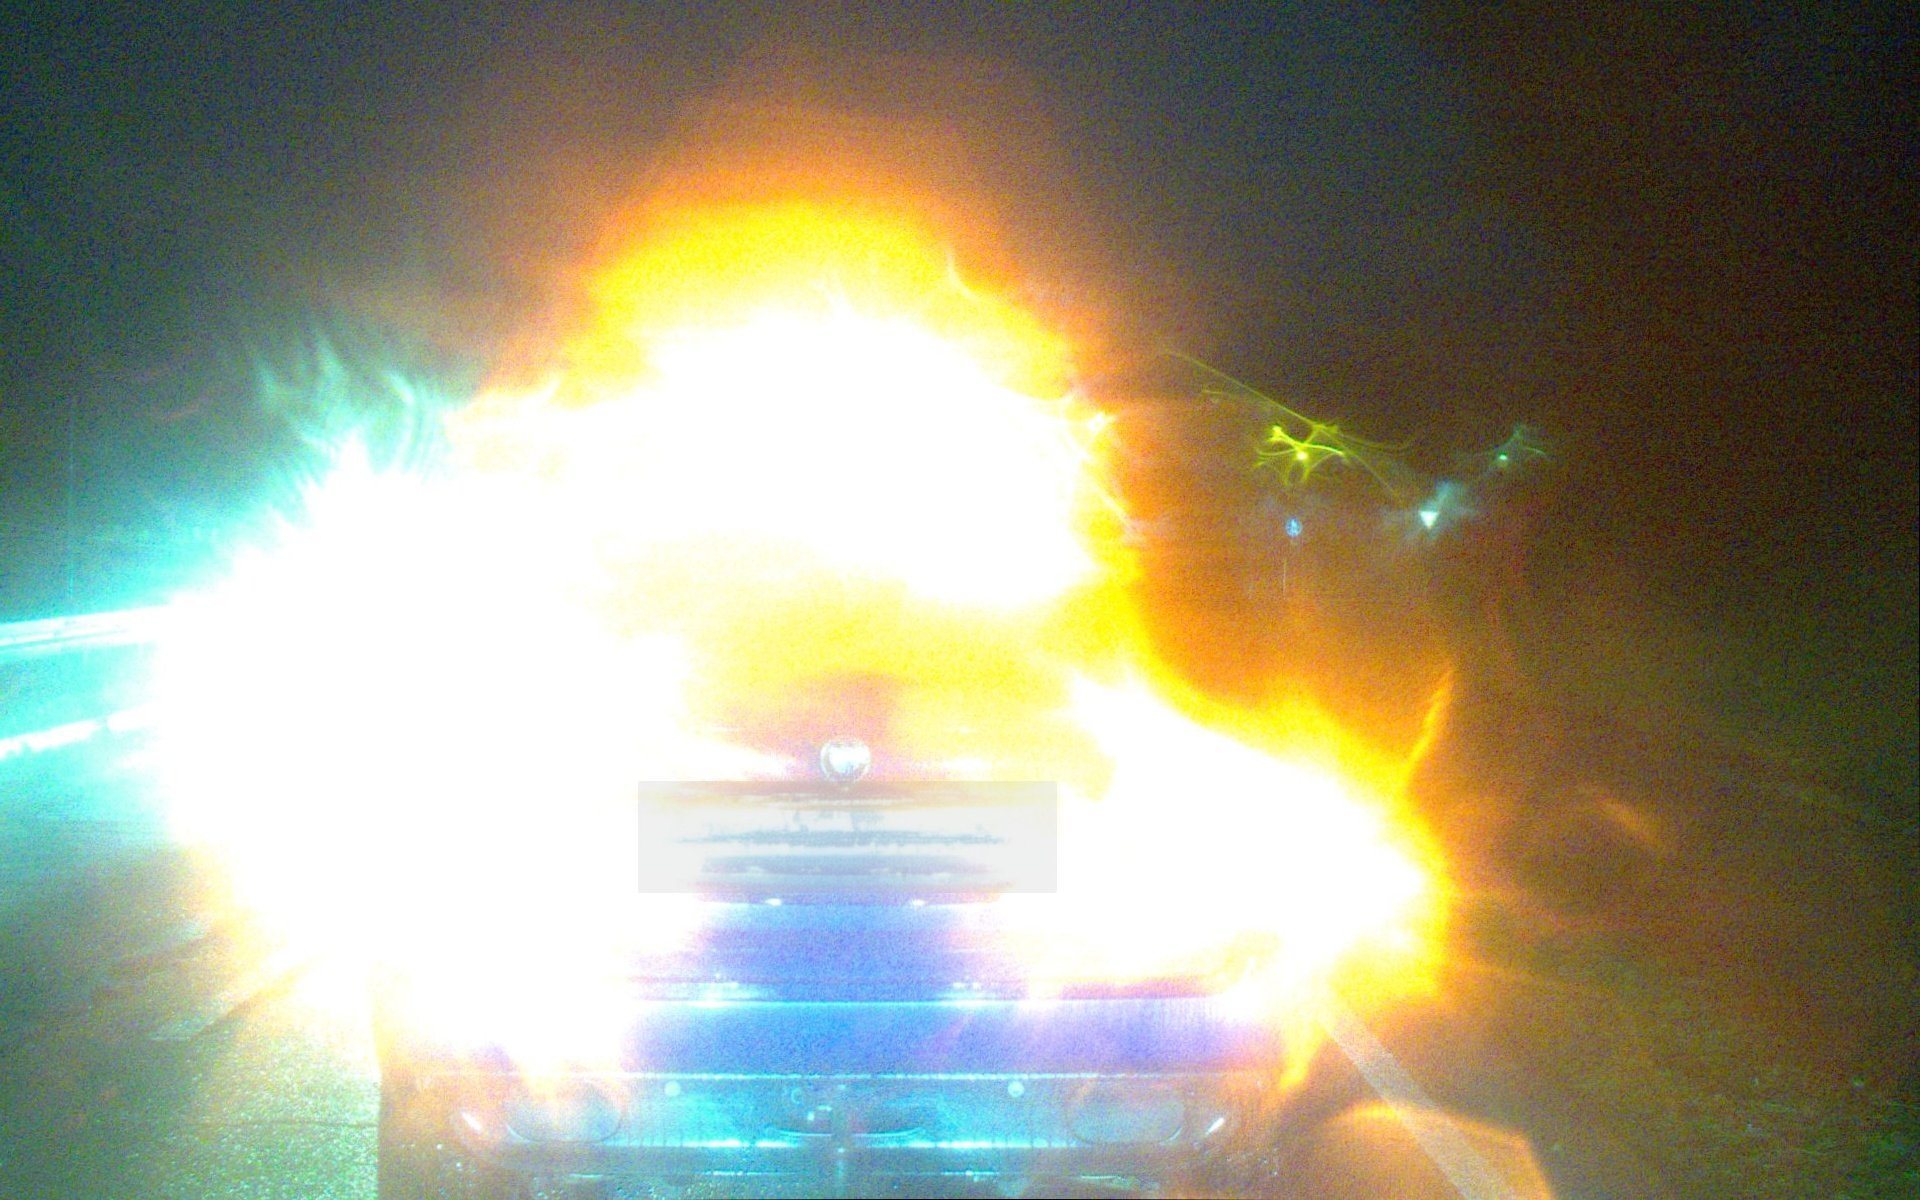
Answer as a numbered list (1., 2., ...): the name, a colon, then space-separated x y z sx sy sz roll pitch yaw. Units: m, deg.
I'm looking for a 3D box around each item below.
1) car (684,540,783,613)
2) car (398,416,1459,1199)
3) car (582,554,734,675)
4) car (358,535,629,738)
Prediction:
1. car: -4.868 -0.536 74.298 1.903 1.465 4.275 2 1 -1
2. car: -0.061 0.519 7.798 1.775 1.706 4.000 1 1 0
3. car: -4.201 0.167 48.384 1.837 1.540 4.257 1 1 -1
4. car: -4.041 0.260 30.388 1.951 1.650 4.125 -1 1 -2
